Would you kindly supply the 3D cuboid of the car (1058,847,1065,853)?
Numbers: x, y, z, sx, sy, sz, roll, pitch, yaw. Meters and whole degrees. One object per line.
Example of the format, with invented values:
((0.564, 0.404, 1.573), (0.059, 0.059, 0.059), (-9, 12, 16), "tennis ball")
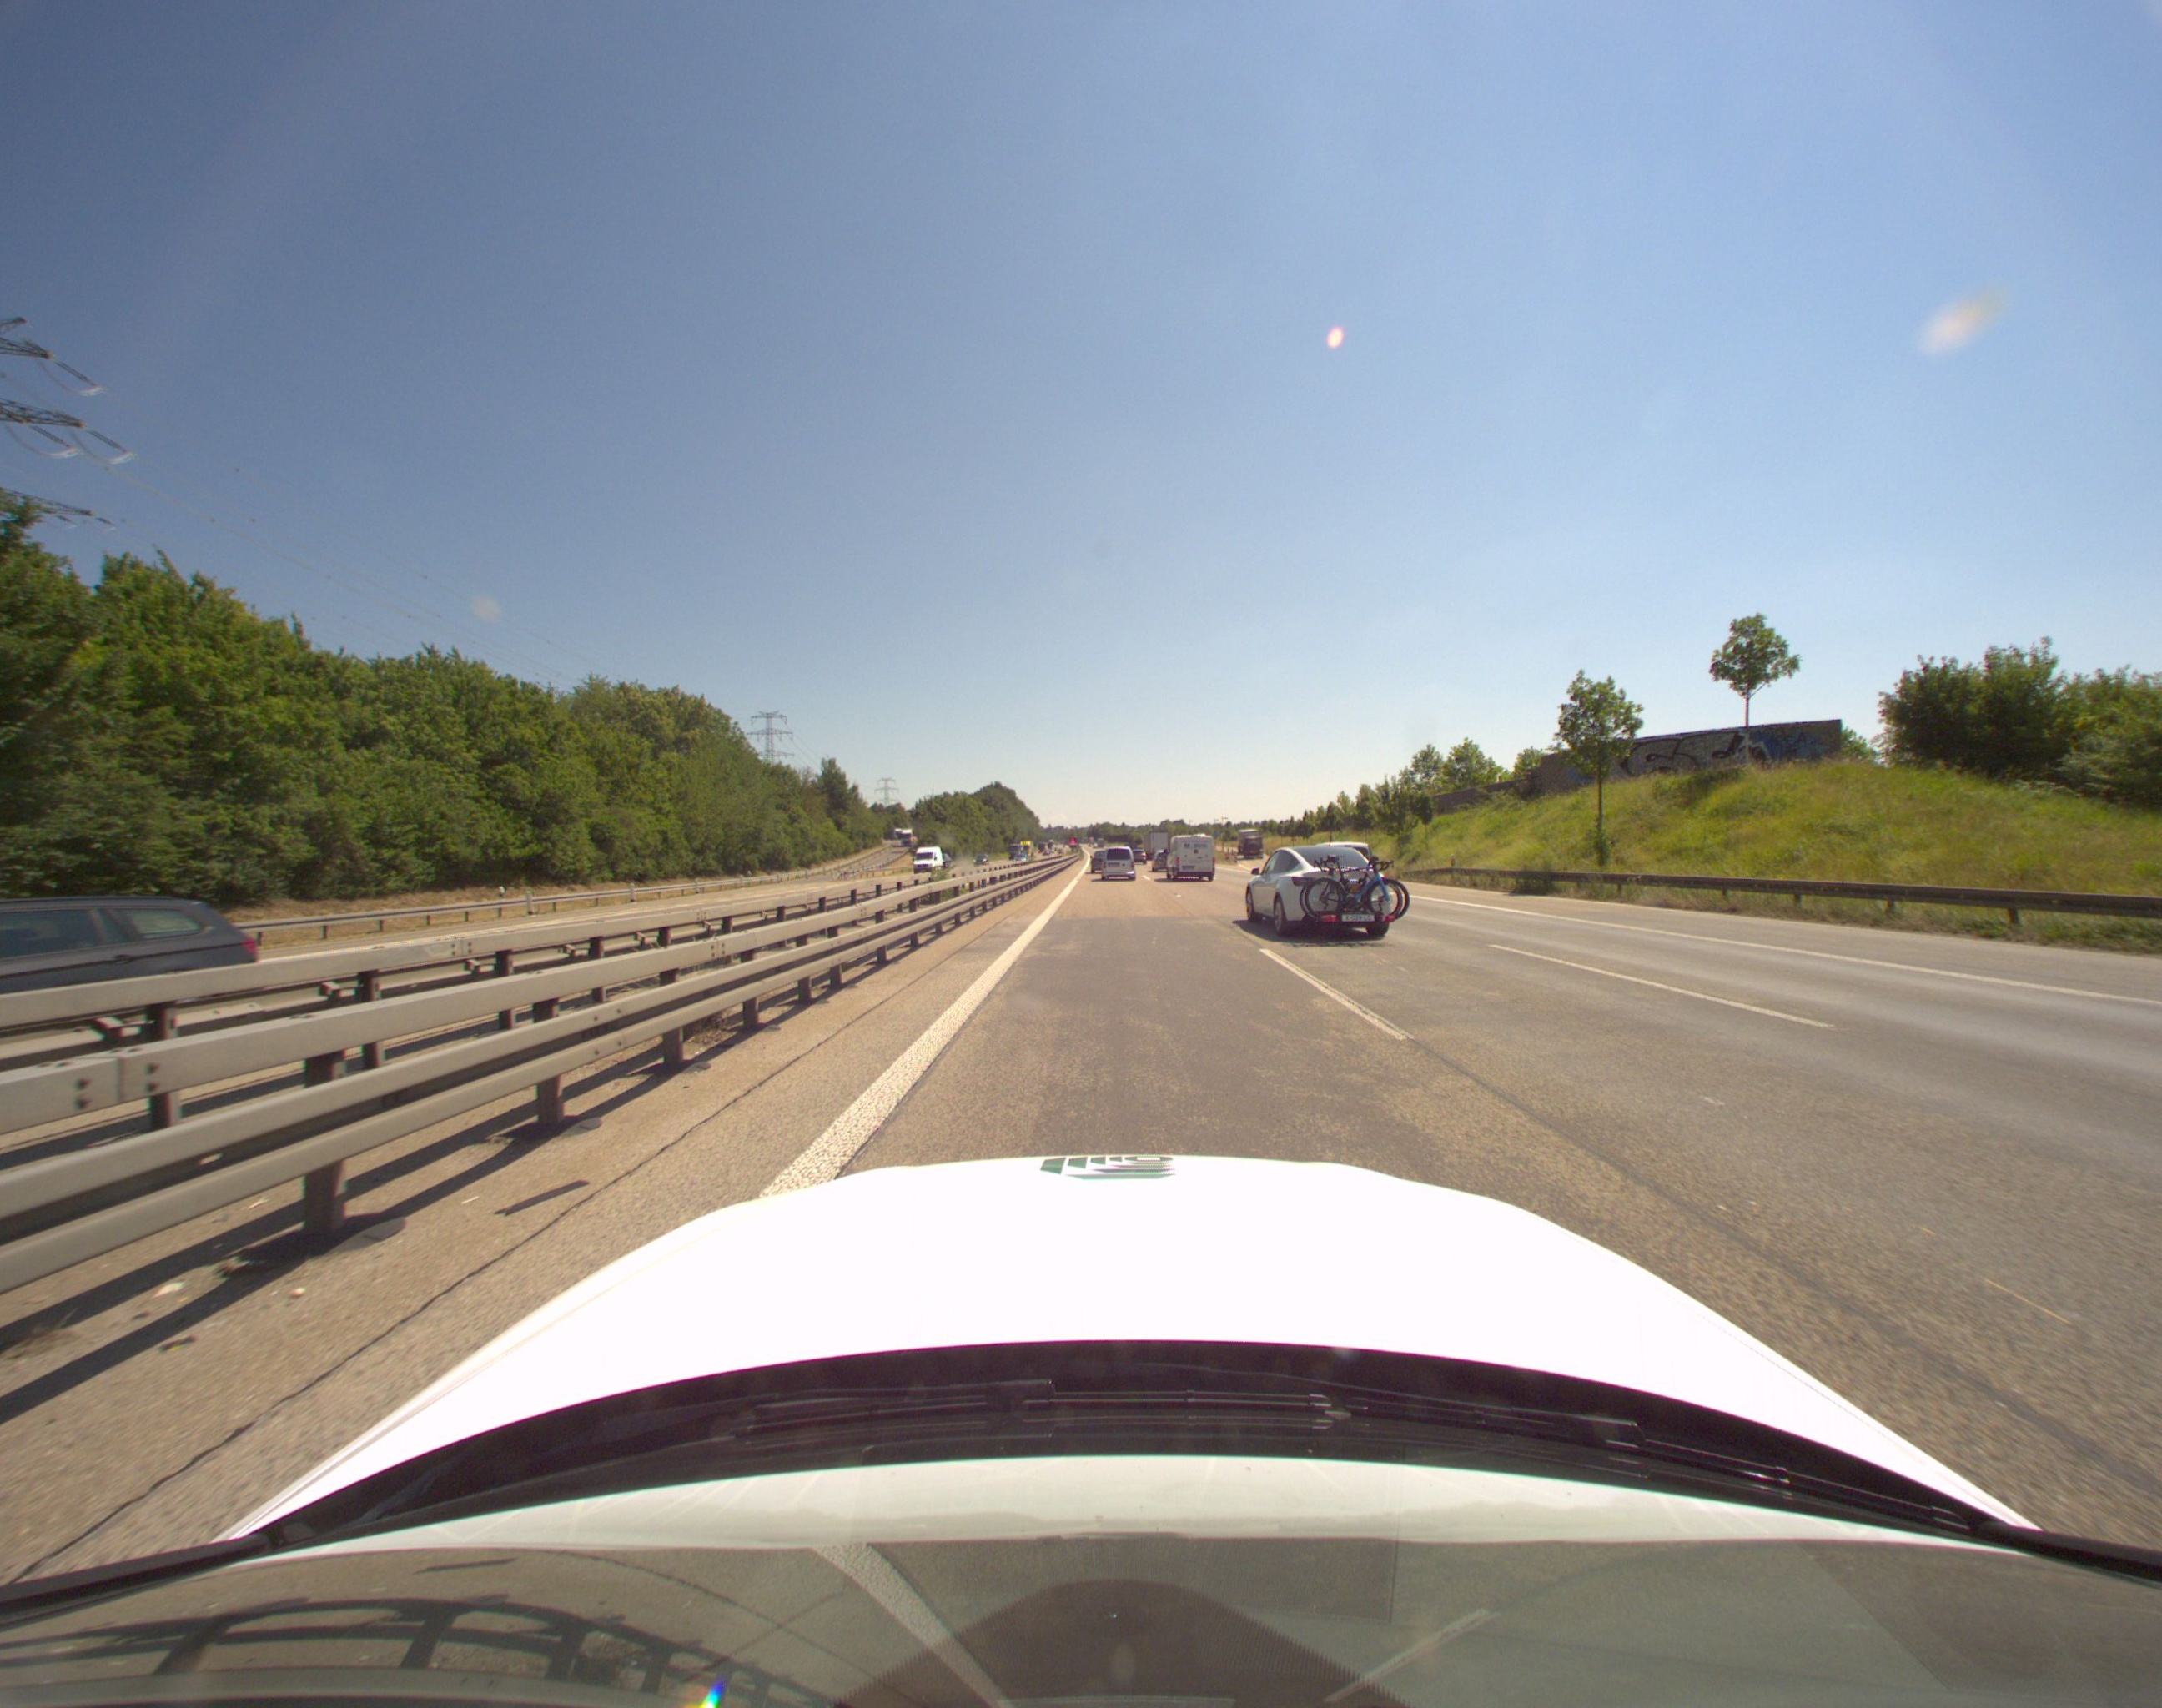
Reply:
((-5.510, -1.230, 231.092), (1.775, 1.624, 4.001), (-2, 1, 1), "car")

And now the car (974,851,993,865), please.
((-13.996, 0.531, 116.716), (2.151, 1.799, 4.512), (-3, 1, -1), "car")

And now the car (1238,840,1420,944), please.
((4.442, 0.552, 15.611), (1.943, 1.636, 5.603), (0, 1, 2), "car")

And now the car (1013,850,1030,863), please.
((-7.799, 0.285, 107.132), (1.775, 1.473, 4.357), (-3, 1, 2), "car")

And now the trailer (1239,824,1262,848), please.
((29.763, -3.094, 143.129), (3.035, 4.082, 14.291), (0, 1, 8), "trailer")

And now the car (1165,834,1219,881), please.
((5.659, 0.149, 42.069), (2.173, 2.254, 5.366), (-1, 1, 2), "car")

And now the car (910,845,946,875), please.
((-14.924, 0.535, 79.710), (2.102, 2.639, 6.006), (-3, 1, 1), "car")

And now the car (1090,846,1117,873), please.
((1.582, 0.361, 56.490), (1.738, 1.701, 4.091), (-2, 1, 2), "car")

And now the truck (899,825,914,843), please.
((-40.553, -4.720, 189.414), (2.942, 3.894, 4.314), (-2, 3, -8), "truck")

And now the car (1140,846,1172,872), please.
((5.379, 0.317, 58.587), (1.969, 1.733, 4.090), (-2, 1, 2), "car")

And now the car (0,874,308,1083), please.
((-9.031, 1.016, 6.256), (1.775, 1.473, 4.490), (-2, 1, 1), "car")

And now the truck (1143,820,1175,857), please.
((11.180, -2.203, 118.422), (3.774, 4.999, 12.524), (0, 1, 2), "truck")

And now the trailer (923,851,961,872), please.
((-14.627, 0.738, 86.146), (2.756, 1.945, 6.721), (-3, 1, -1), "trailer")

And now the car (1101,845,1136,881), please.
((1.980, 0.447, 43.508), (1.738, 1.764, 4.090), (-2, 1, 2), "car")

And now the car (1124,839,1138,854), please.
((6.465, -1.002, 105.397), (1.668, 1.891, 4.090), (-2, 1, 2), "car")

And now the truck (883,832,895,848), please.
((-49.831, -3.729, 212.062), (2.551, 4.007, 11.746), (0, 1, -11), "truck")

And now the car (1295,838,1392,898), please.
((8.985, 0.416, 28.220), (1.944, 1.837, 4.177), (-2, 1, 0), "car")

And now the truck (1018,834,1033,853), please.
((-13.502, -2.511, 198.182), (3.165, 4.340, 3.512), (-2, 1, -1), "truck")

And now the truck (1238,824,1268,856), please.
((23.564, -1.855, 111.349), (3.762, 4.082, 12.562), (0, 1, 13), "truck")

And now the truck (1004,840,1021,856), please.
((-14.598, -1.234, 174.574), (2.904, 3.300, 5.332), (-2, 1, 1), "truck")

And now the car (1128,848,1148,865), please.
((6.061, 0.240, 87.357), (1.895, 1.672, 4.090), (-2, 1, 2), "car")
